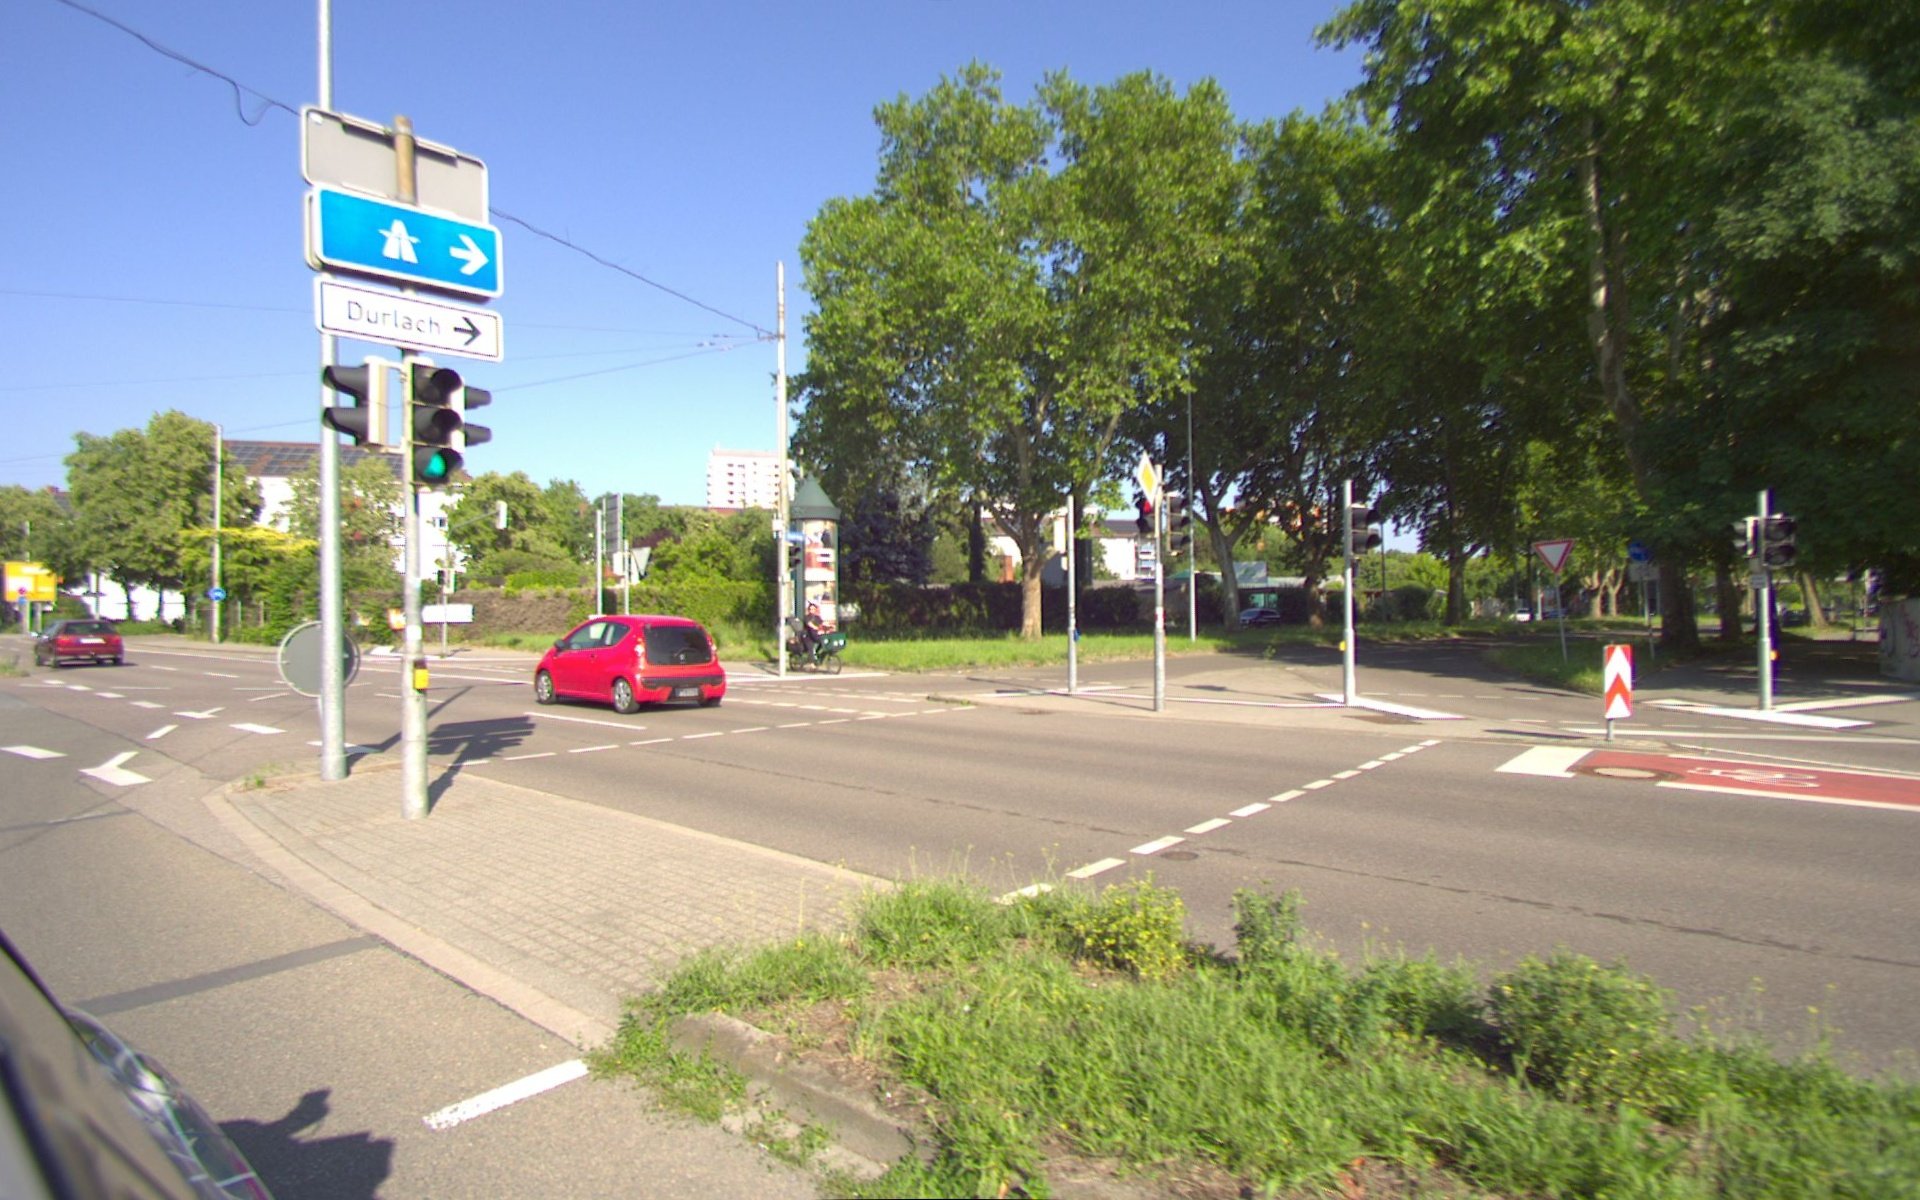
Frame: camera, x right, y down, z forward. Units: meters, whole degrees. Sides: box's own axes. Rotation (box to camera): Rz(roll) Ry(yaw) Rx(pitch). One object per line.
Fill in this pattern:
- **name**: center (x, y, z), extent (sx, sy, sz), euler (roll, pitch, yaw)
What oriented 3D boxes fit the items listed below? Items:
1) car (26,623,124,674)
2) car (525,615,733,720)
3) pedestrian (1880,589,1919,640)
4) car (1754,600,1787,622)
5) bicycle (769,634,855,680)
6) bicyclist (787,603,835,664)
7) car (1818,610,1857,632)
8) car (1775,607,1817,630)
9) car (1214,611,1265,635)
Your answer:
- **car**: center (-26.689, 1.410, 30.482), extent (4.131, 1.406, 1.636), euler (-1, -1, 40)
- **car**: center (-5.134, 0.955, 15.521), extent (3.332, 1.427, 1.557), euler (-1, -1, 41)
- **pedestrian**: center (33.350, 0.506, 35.908), extent (0.676, 1.783, 0.879), euler (0, -1, -37)
- **car**: center (76.563, 1.033, 95.561), extent (4.336, 1.978, 1.825), euler (0, -1, -44)
- **bicycle**: center (-3.665, 1.379, 24.918), extent (2.581, 1.057, 0.654), euler (-1, -1, 44)
- **bicyclist**: center (-3.675, 0.809, 24.943), extent (1.051, 1.463, 0.654), euler (-1, -1, 44)
- **car**: center (63.224, 1.487, 72.908), extent (3.486, 1.535, 1.825), euler (0, -1, -44)
- **car**: center (57.147, 1.242, 69.146), extent (3.486, 1.535, 1.825), euler (0, -1, -44)
- **car**: center (17.458, 1.412, 63.193), extent (3.373, 1.317, 1.510), euler (-3, 1, -44)
